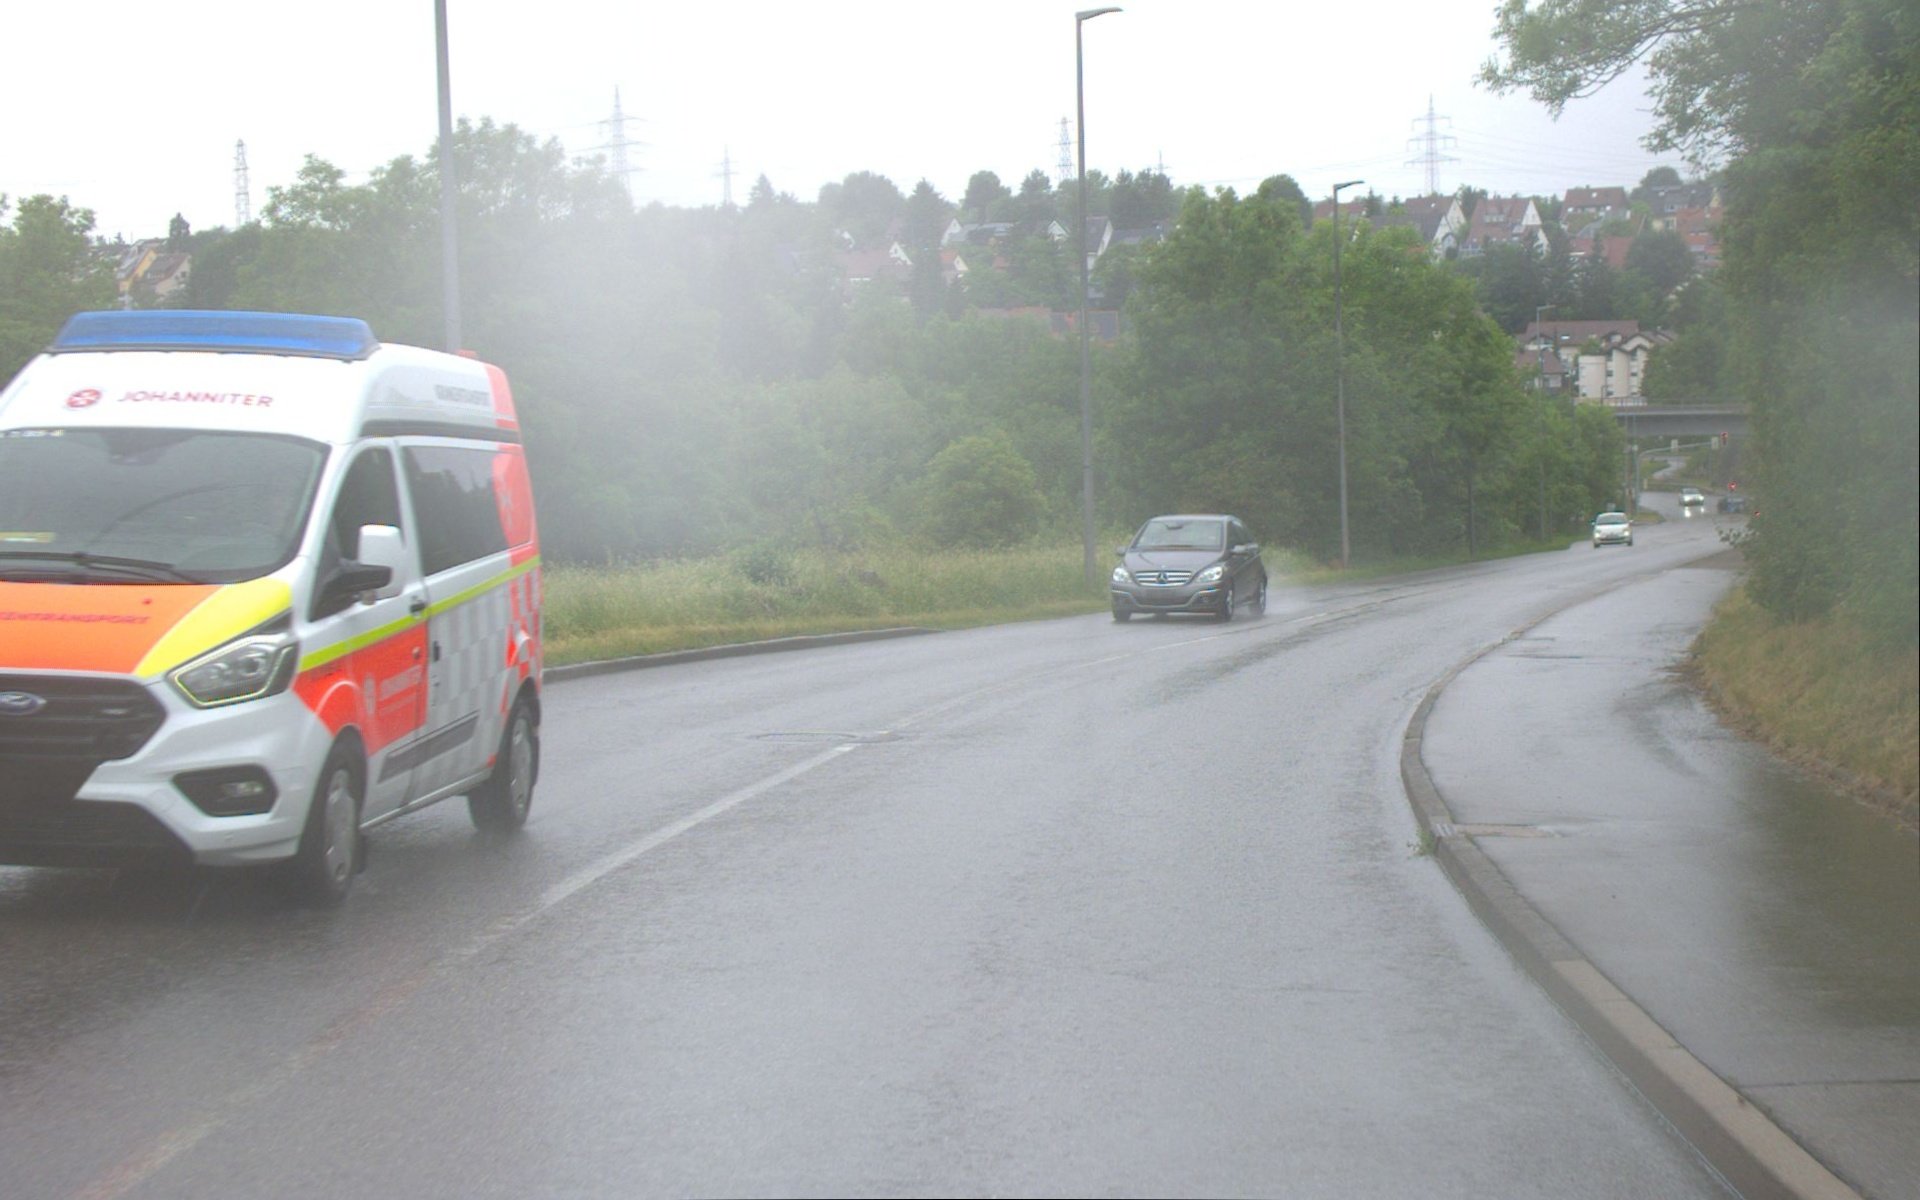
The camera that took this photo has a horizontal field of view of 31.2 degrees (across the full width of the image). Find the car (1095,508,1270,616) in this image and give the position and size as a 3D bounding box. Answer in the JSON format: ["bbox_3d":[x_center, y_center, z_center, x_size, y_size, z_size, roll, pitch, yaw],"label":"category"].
[{"bbox_3d":[3.424,-0.604,52.237,1.865,1.546,4.263,1,2,14],"label":"car"}]

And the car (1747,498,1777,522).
[{"bbox_3d":[55.692,-6.235,238.677,1.769,1.557,3.997,-2,1,15],"label":"car"}]

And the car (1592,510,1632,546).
[{"bbox_3d":[28.228,-3.121,148.866,1.640,1.483,3.453,-2,1,11],"label":"car"}]

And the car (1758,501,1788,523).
[{"bbox_3d":[54.910,-5.934,232.082,1.769,1.375,3.997,-2,1,15],"label":"car"}]

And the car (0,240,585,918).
[{"bbox_3d":[-3.219,-0.142,15.086,2.045,2.409,5.454,1,1,5],"label":"car"}]
